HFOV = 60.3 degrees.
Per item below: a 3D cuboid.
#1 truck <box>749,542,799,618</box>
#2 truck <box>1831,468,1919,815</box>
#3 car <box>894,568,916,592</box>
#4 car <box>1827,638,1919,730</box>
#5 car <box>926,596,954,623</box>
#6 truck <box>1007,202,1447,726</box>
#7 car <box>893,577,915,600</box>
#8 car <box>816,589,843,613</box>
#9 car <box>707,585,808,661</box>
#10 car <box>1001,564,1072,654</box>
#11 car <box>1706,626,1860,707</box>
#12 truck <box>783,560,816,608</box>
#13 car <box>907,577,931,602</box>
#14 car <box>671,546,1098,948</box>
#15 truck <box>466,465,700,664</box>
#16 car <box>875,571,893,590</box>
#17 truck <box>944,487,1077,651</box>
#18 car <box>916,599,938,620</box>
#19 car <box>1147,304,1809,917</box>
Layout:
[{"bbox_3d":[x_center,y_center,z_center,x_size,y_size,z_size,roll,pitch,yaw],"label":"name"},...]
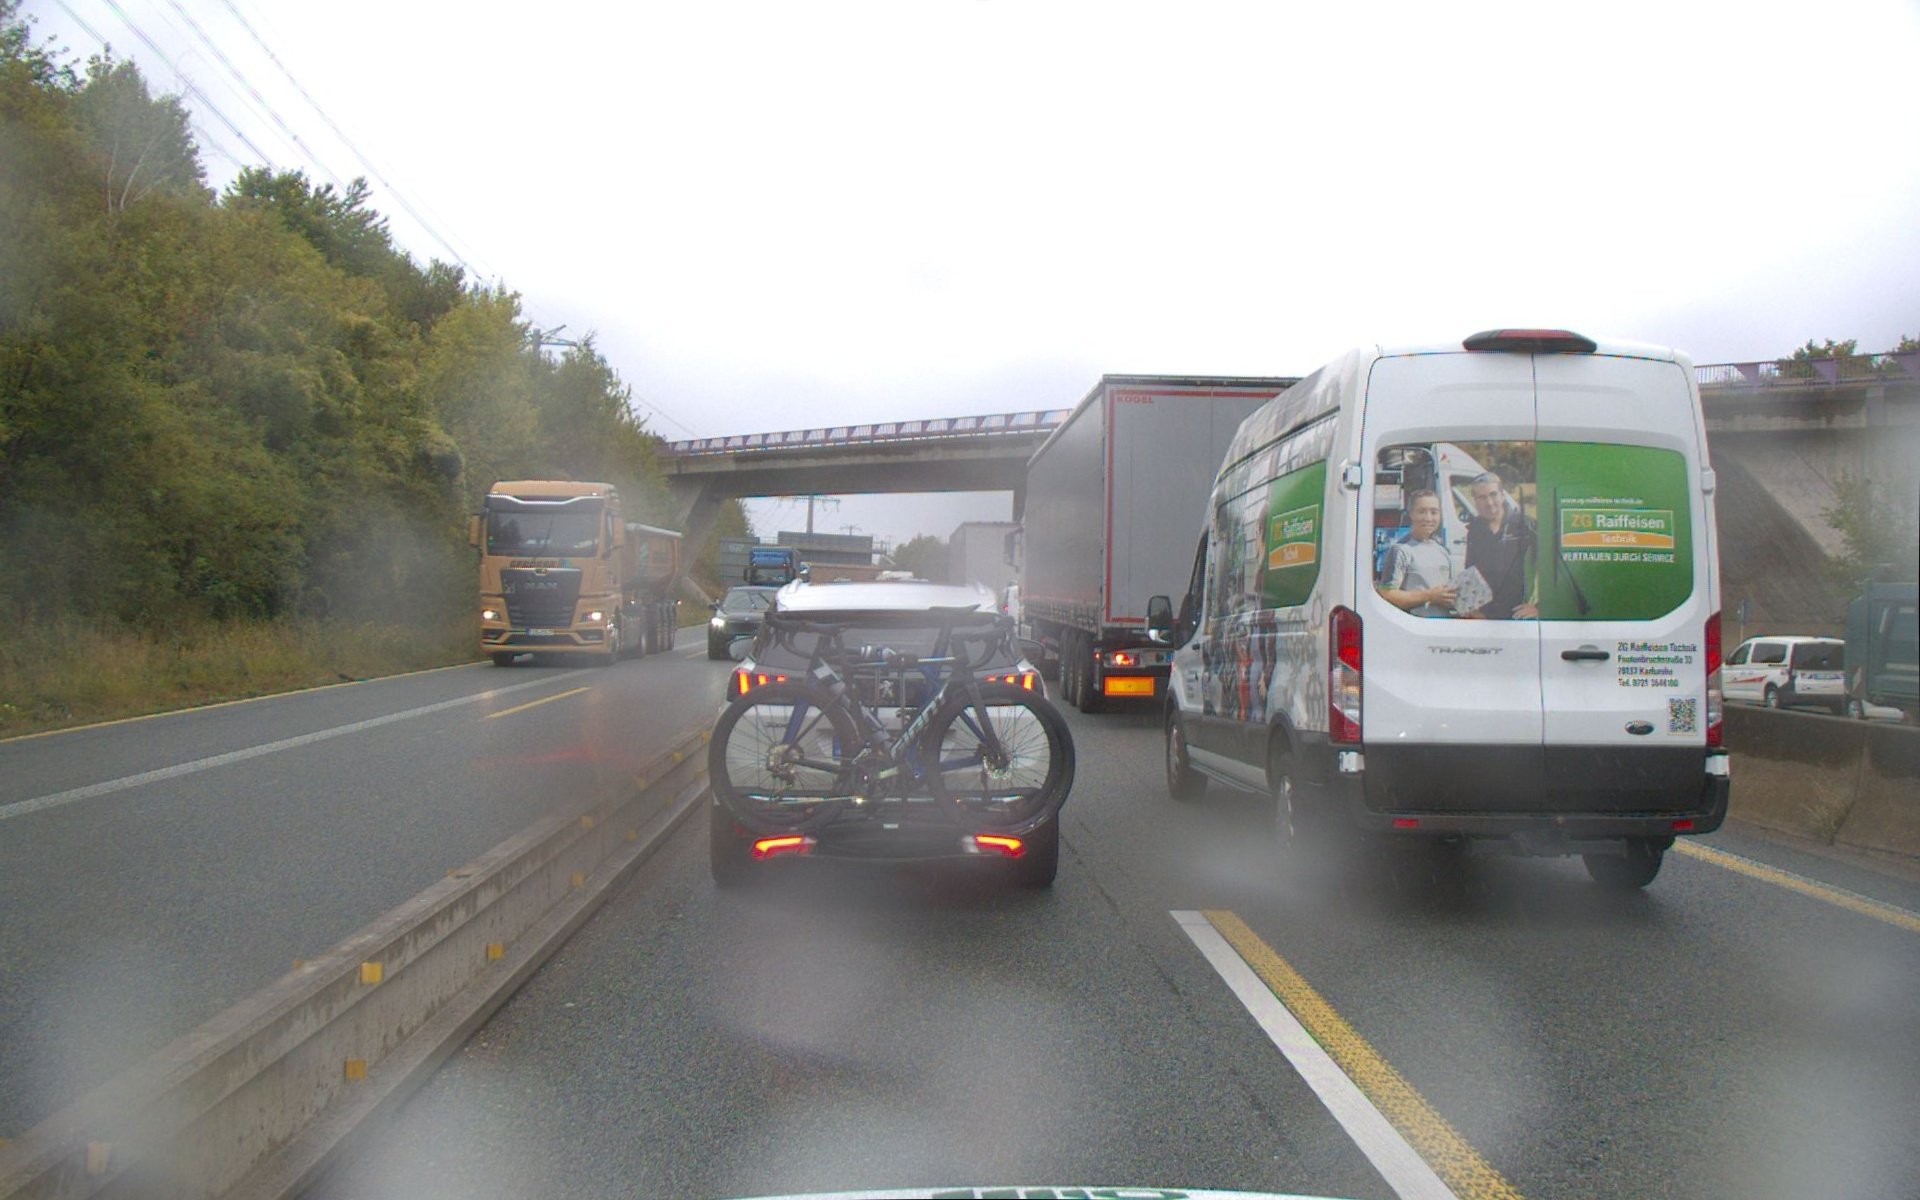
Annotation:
[{"bbox_3d":[-11.368,-1.112,100.693,2.713,4.195,16.902,1,0,-7],"label":"truck"},{"bbox_3d":[10.131,0.387,12.154,2.469,3.186,9.115,1,0,-1],"label":"truck"},{"bbox_3d":[-5.556,-1.999,167.819,2.194,2.348,4.570,1,0,-1],"label":"car"},{"bbox_3d":[20.198,1.741,34.910,1.693,1.776,4.124,1,0,1],"label":"car"},{"bbox_3d":[-1.208,0.571,98.825,1.605,1.524,3.665,1,0,-1],"label":"car"},{"bbox_3d":[3.264,-1.465,28.563,3.899,5.772,20.370,1,0,-1],"label":"truck"},{"bbox_3d":[-5.225,-1.087,155.203,1.953,2.049,3.999,1,0,-1],"label":"car"},{"bbox_3d":[-9.218,0.087,117.034,1.748,1.638,4.102,1,0,-2],"label":"car"},{"bbox_3d":[-4.650,0.511,38.444,1.896,1.635,4.118,1,0,-1],"label":"car"},{"bbox_3d":[1.985,0.231,43.735,1.636,2.218,4.534,1,0,0],"label":"car"},{"bbox_3d":[20.316,1.597,41.024,1.809,1.840,4.157,1,0,1],"label":"car"},{"bbox_3d":[-14.552,-1.433,150.832,2.414,4.195,10.083,1,0,-2],"label":"truck"},{"bbox_3d":[-3.444,-0.886,138.102,1.953,2.049,3.998,1,0,-2],"label":"car"},{"bbox_3d":[-0.320,0.628,9.268,1.773,1.666,4.635,1,0,0],"label":"car"},{"bbox_3d":[-8.084,-0.637,37.370,2.627,3.720,12.308,1,0,-1],"label":"truck"},{"bbox_3d":[-8.976,-2.268,194.956,1.953,2.164,4.525,1,0,-1],"label":"car"},{"bbox_3d":[1.789,-1.071,68.889,4.646,5.772,20.374,1,0,0],"label":"truck"},{"bbox_3d":[-2.430,0.730,123.382,1.605,1.524,3.665,1,0,-1],"label":"car"},{"bbox_3d":[2.683,0.064,10.482,2.101,2.723,6.115,1,0,-2],"label":"car"}]
